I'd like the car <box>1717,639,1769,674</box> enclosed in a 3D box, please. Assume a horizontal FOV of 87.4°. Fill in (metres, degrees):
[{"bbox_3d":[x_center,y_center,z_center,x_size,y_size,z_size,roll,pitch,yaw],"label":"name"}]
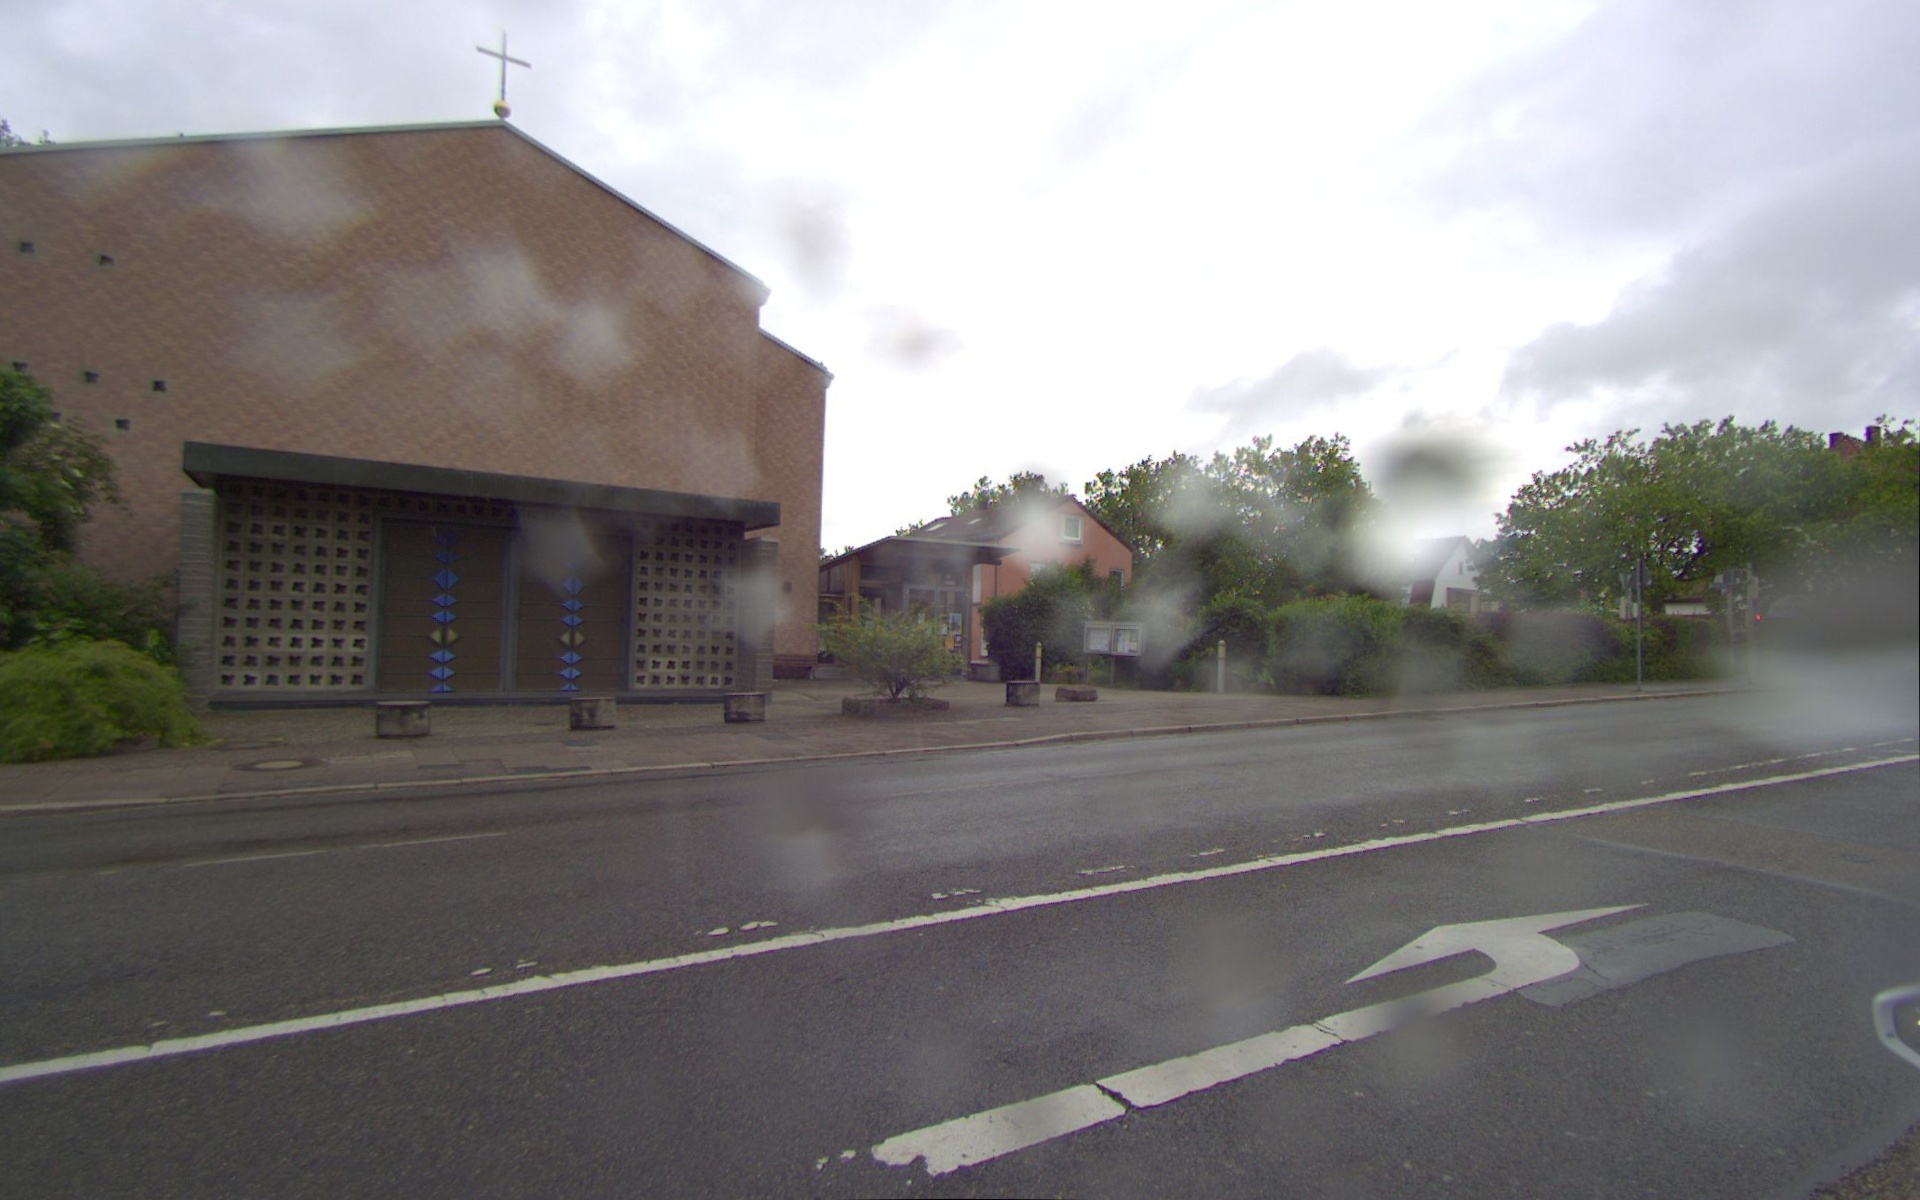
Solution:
[{"bbox_3d":[38.616,2.736,49.539,1.969,1.572,3.983,0,-1,38],"label":"car"}]
